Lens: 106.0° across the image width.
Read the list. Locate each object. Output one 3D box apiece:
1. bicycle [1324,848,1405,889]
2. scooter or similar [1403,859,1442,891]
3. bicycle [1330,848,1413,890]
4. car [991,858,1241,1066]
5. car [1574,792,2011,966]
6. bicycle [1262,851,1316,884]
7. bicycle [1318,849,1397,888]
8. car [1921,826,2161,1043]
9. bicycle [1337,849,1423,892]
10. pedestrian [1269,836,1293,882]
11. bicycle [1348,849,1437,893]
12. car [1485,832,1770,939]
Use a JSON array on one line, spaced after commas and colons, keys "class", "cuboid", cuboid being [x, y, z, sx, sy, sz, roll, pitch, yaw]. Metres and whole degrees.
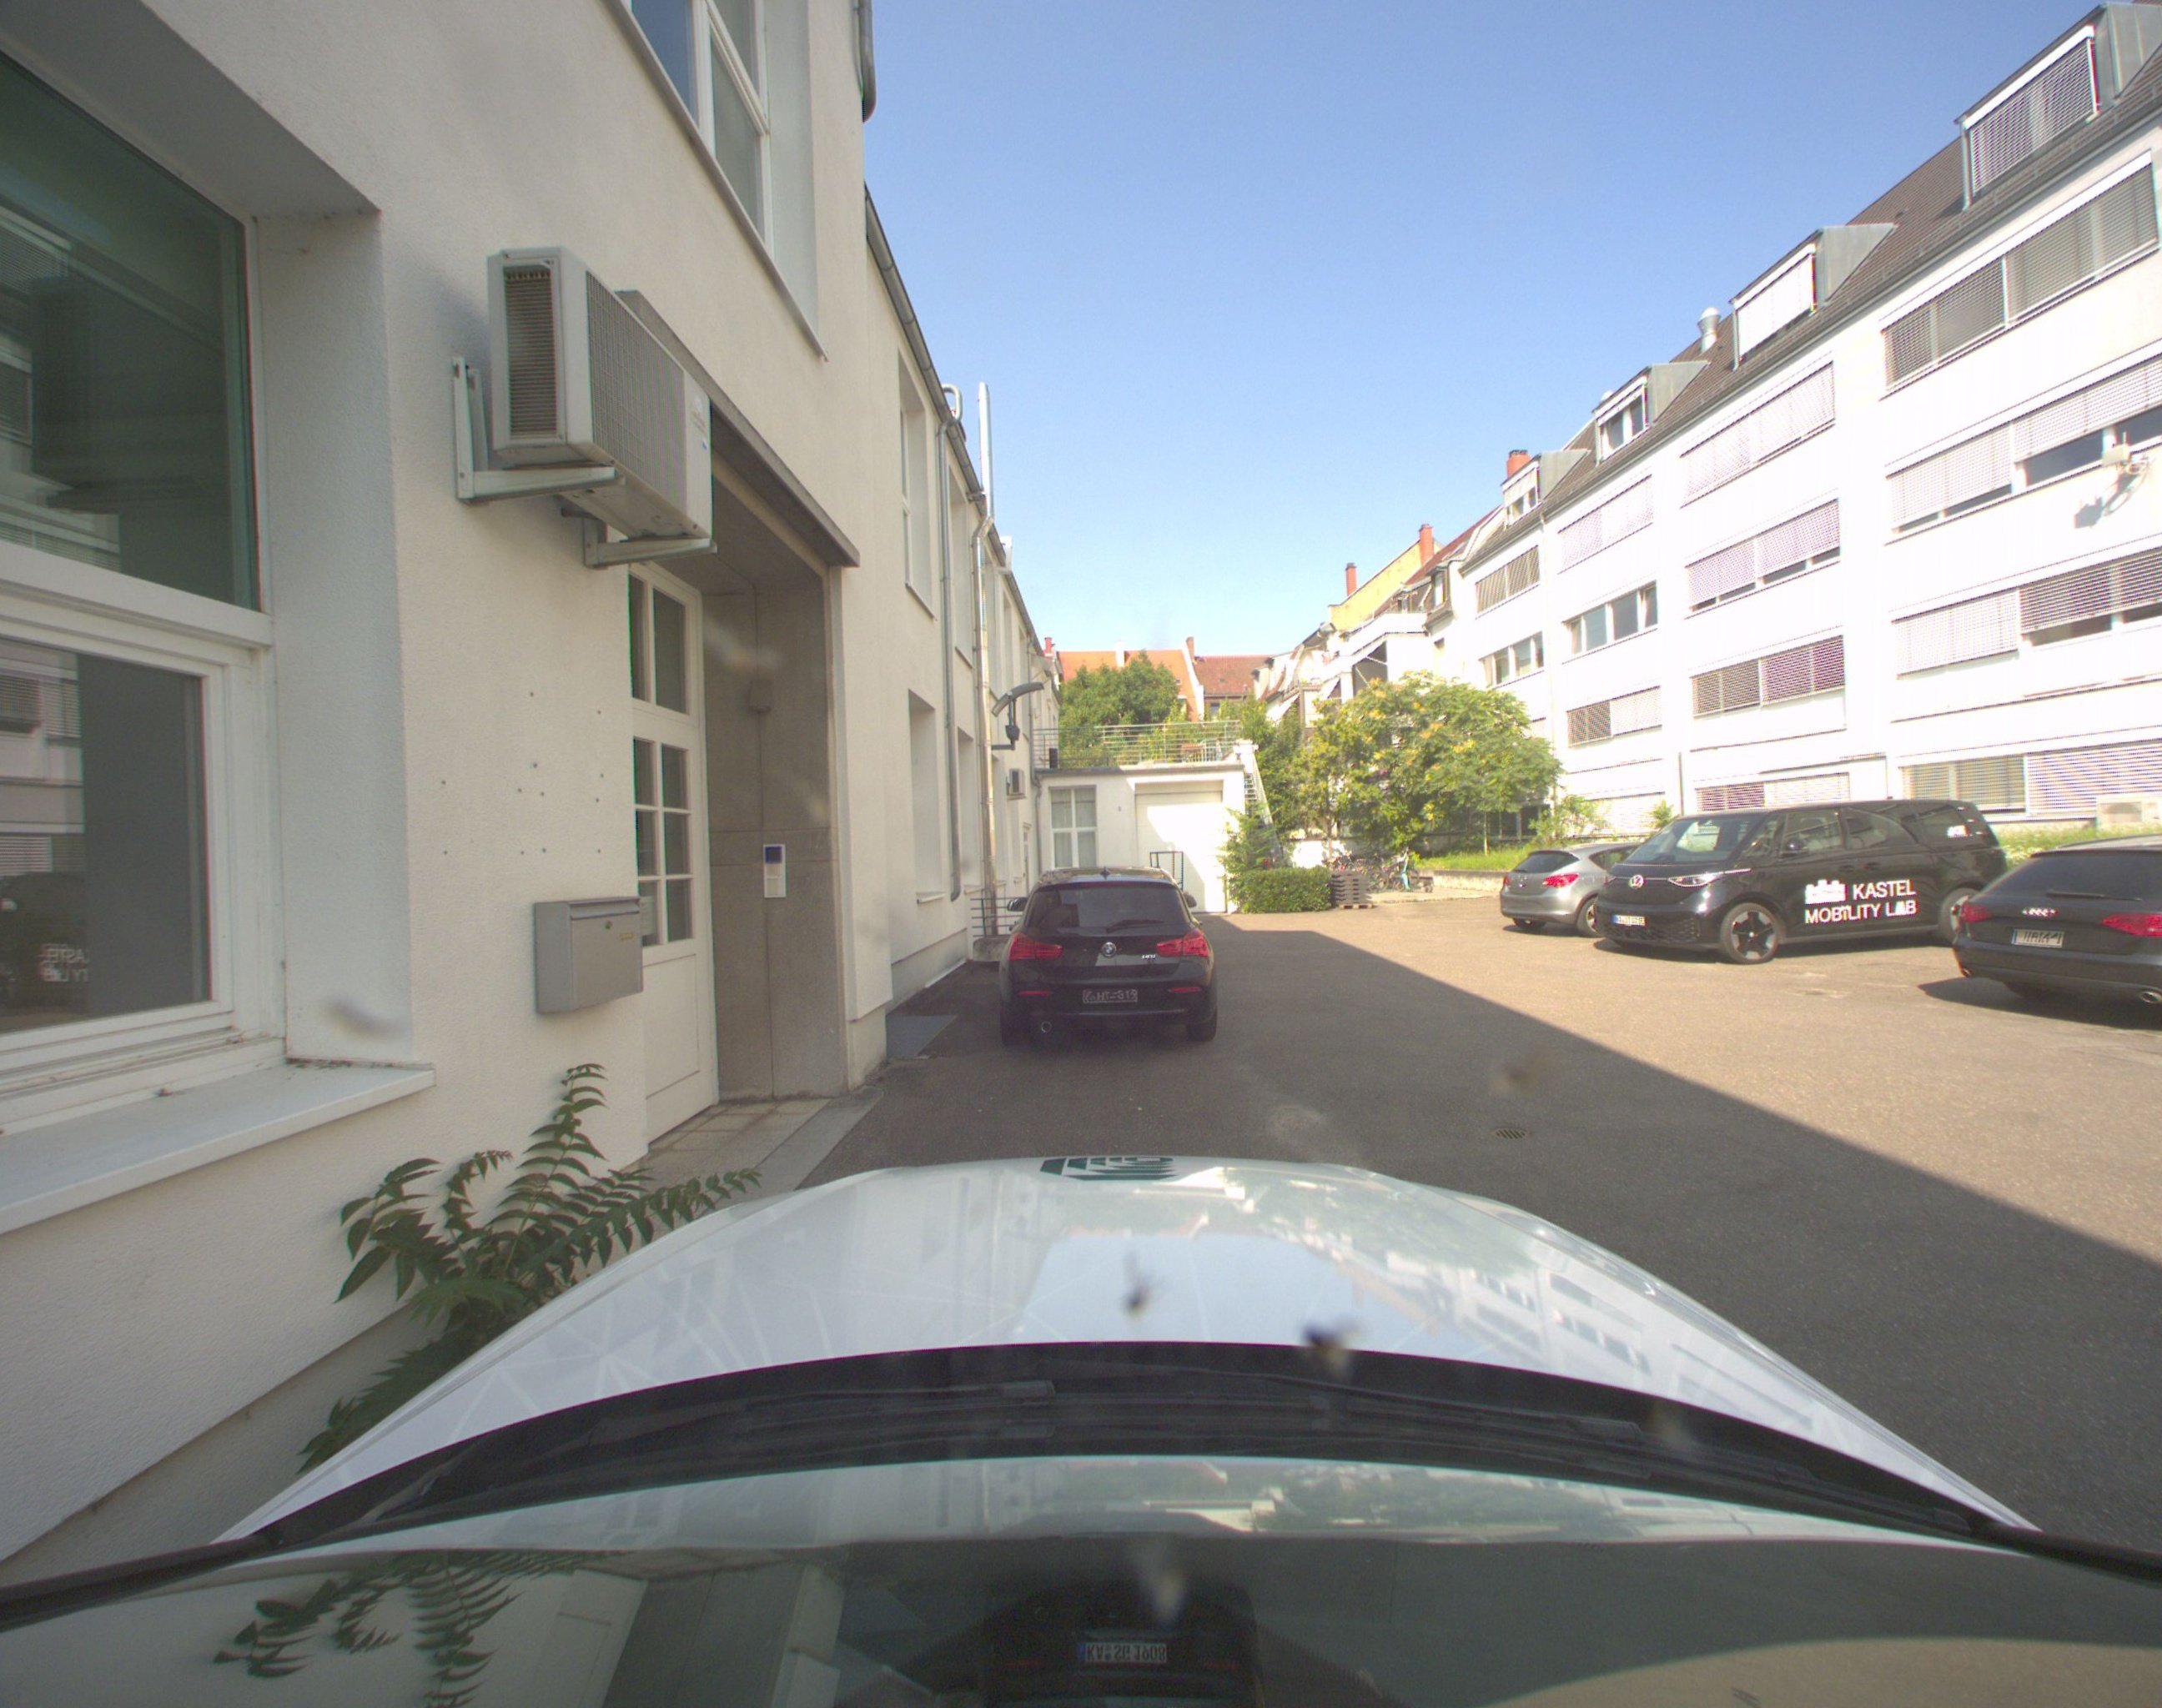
[{"class": "bicycle", "cuboid": [9.188, 0.468, 26.423, 2.401, 1.246, 0.527, -2, 0, 2]}, {"class": "scooter or similar", "cuboid": [9.998, 0.604, 23.872, 0.362, 0.924, 0.988, -1, 0, -35]}, {"class": "bicycle", "cuboid": [9.184, 0.483, 25.790, 2.401, 1.246, 0.527, -2, 0, 2]}, {"class": "car", "cuboid": [0.262, 0.797, 7.993, 1.787, 1.428, 4.136, -2, 0, 0]}, {"class": "car", "cuboid": [9.171, 0.265, 10.704, 4.331, 1.859, 1.910, -3, 0, -7]}, {"class": "bicycle", "cuboid": [8.099, 0.517, 31.716, 1.986, 1.143, 0.488, -3, 0, -8]}, {"class": "bicycle", "cuboid": [9.174, 0.476, 27.086, 2.401, 1.246, 0.527, -2, 0, 2]}, {"class": "car", "cuboid": [9.543, 0.478, 6.340, 4.218, 1.437, 1.691, -3, 0, 0]}, {"class": "bicycle", "cuboid": [9.173, 0.494, 25.014, 2.401, 1.246, 0.527, -2, 0, 2]}, {"class": "pedestrian", "cuboid": [7.869, 0.191, 32.052, 0.609, 1.771, 0.858, -2, 0, -9]}, {"class": "bicycle", "cuboid": [9.252, 0.506, 24.229, 2.401, 1.246, 0.527, -2, 0, 2]}, {"class": "car", "cuboid": [9.070, 0.474, 13.629, 3.898, 1.466, 1.657, -3, 0, -11]}]
